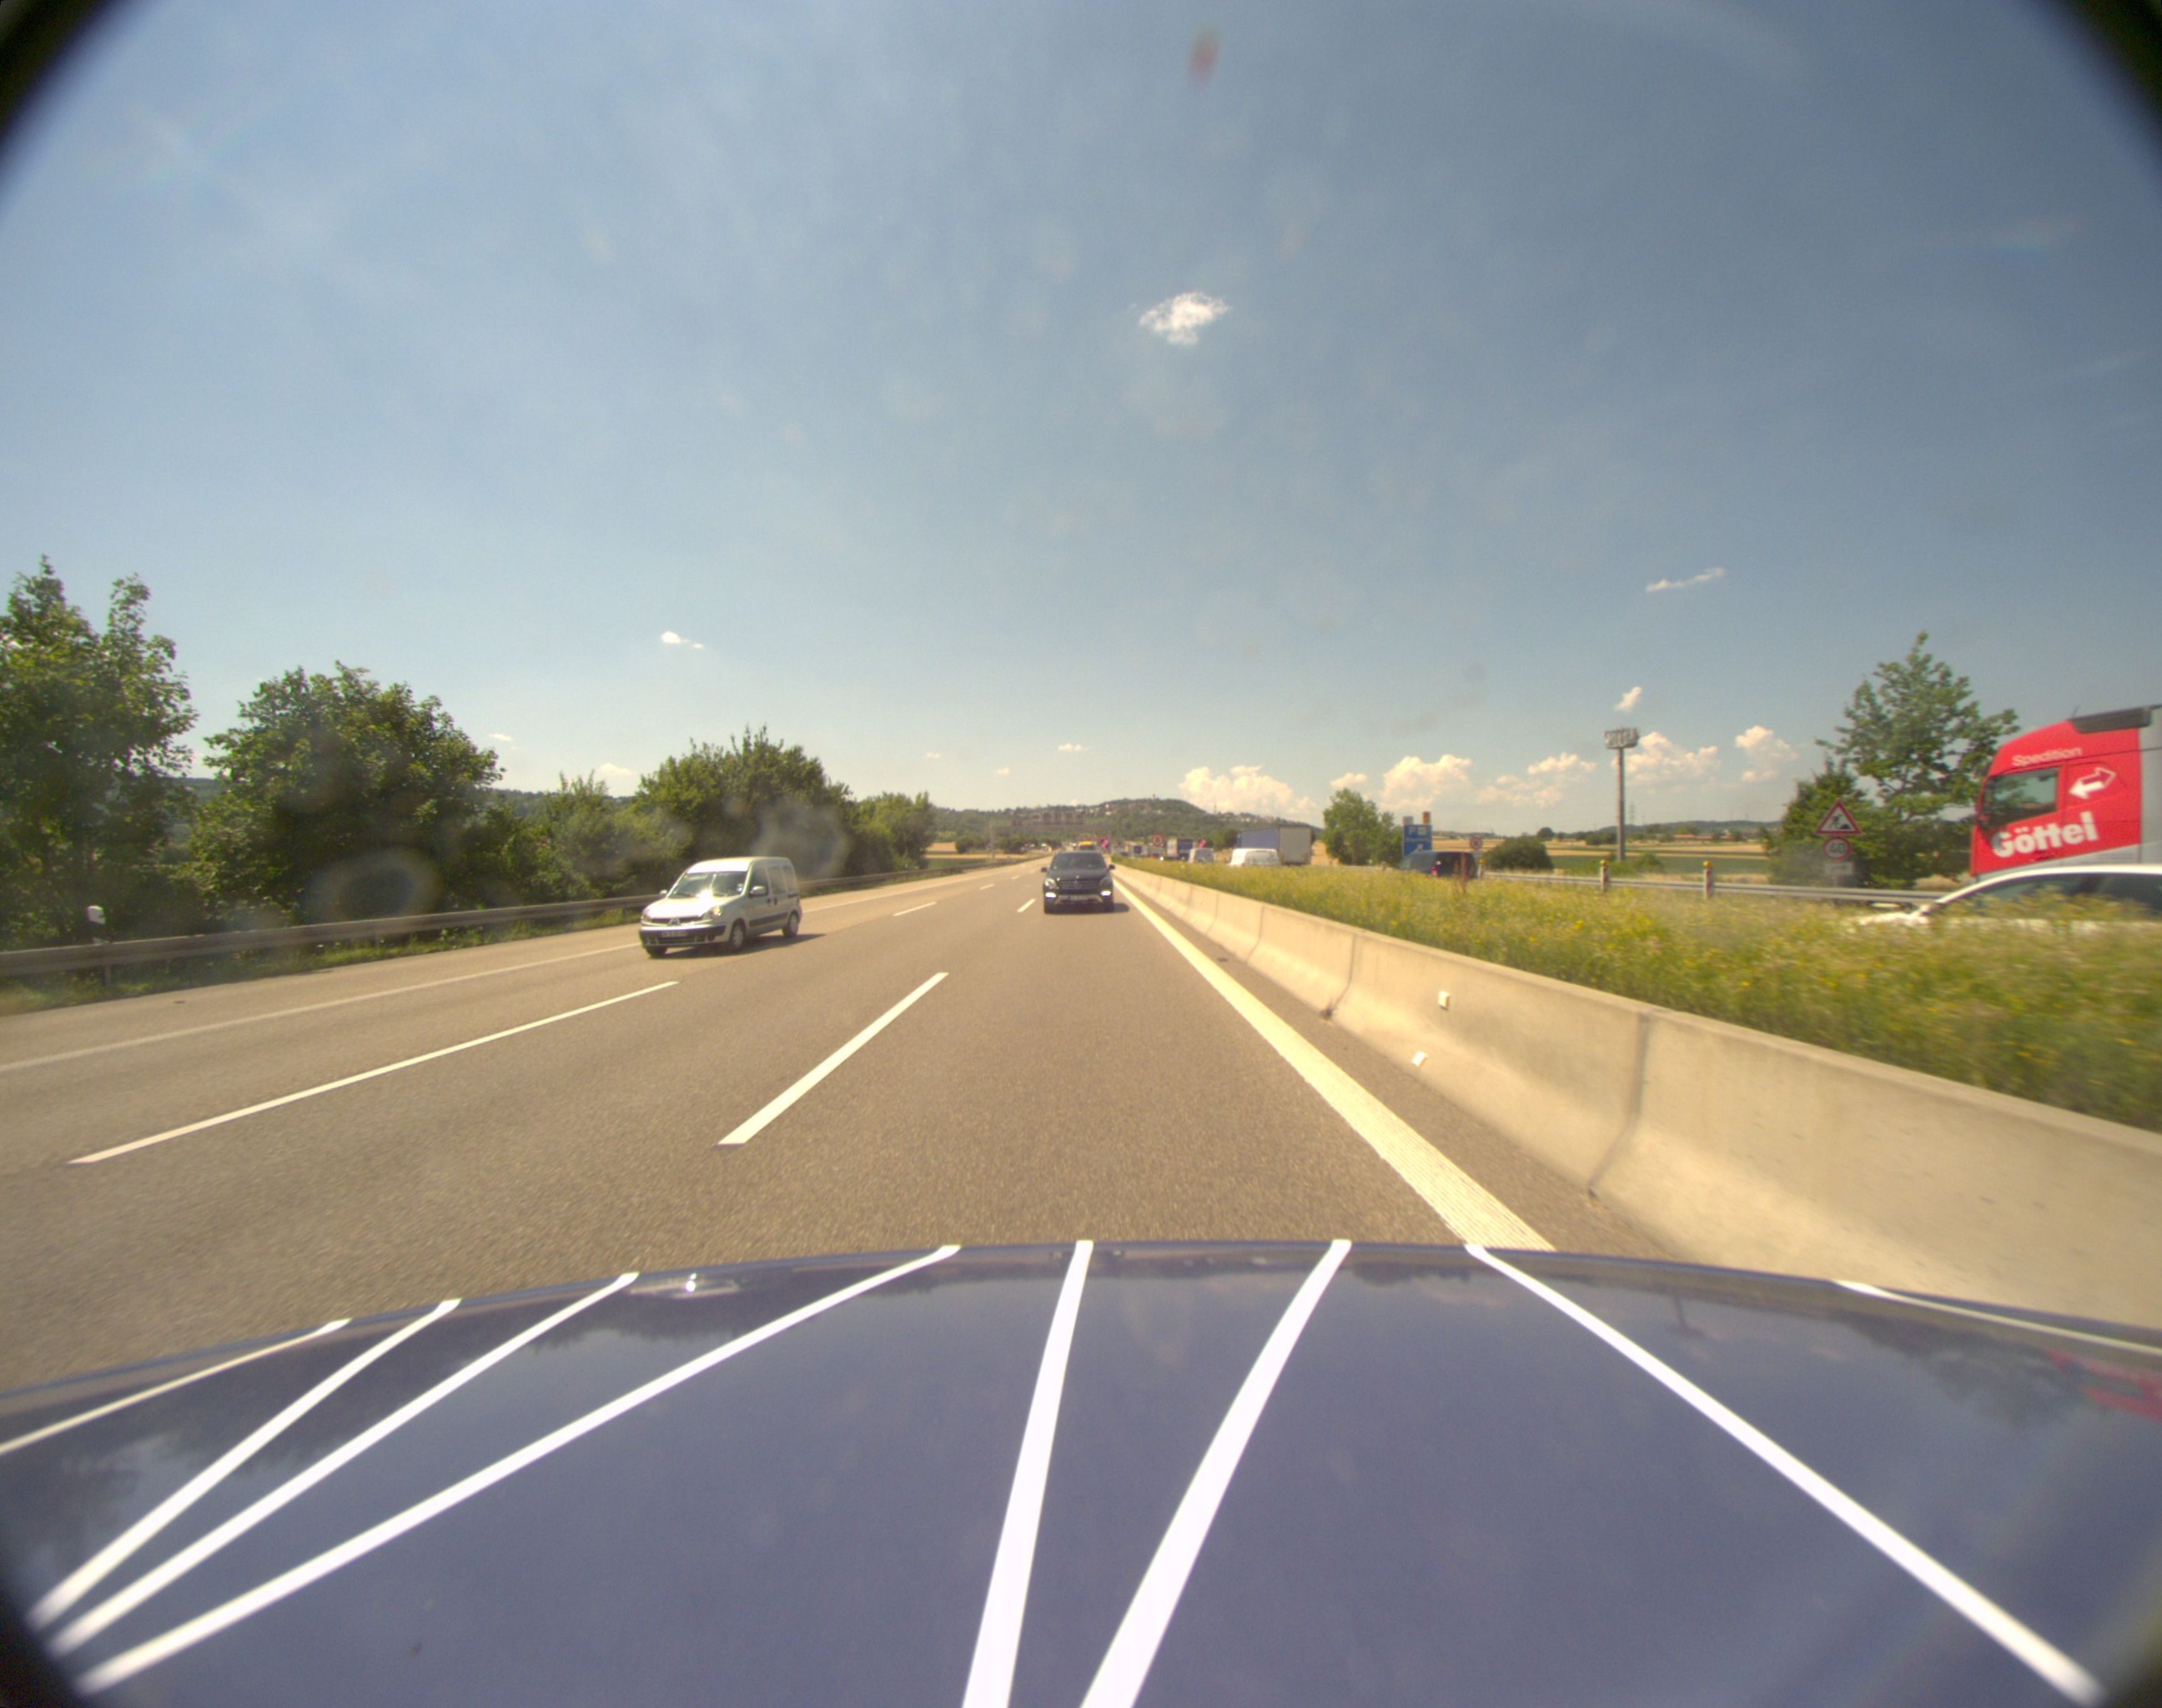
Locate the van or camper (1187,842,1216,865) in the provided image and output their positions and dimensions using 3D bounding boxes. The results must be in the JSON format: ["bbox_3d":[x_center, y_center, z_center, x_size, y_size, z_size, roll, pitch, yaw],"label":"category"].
[{"bbox_3d":[12.395,-0.041,78.372,2.099,2.261,5.493,-1,0,0],"label":"van or camper"}]

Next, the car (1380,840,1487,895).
[{"bbox_3d":[12.064,0.423,26.331,1.698,1.717,4.261,-1,0,0],"label":"car"}]

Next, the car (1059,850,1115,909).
[{"bbox_3d":[0.216,0.760,24.375,1.630,1.711,3.864,-1,0,1],"label":"car"}]

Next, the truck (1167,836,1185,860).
[{"bbox_3d":[16.956,-1.096,136.153,2.599,4.214,4.853,2,1,0],"label":"truck"}]

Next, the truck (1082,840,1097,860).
[{"bbox_3d":[1.424,-0.778,128.532,2.272,3.139,8.185,-2,1,1],"label":"truck"}]

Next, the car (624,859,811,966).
[{"bbox_3d":[-6.891,1.015,14.916,1.630,1.727,3.972,-2,0,1],"label":"car"}]

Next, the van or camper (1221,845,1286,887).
[{"bbox_3d":[8.486,0.535,37.841,1.999,1.922,5.201,-1,0,0],"label":"van or camper"}]

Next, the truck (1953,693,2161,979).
[{"bbox_3d":[15.890,-0.236,10.573,2.863,3.833,4.000,0,0,0],"label":"truck"}]

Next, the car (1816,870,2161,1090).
[{"bbox_3d":[8.147,0.877,5.639,1.698,1.408,3.815,-1,0,0],"label":"car"}]

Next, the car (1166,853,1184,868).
[{"bbox_3d":[9.712,0.663,78.638,1.388,1.460,3.195,-1,0,0],"label":"car"}]

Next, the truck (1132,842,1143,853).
[{"bbox_3d":[18.003,-2.089,243.362,2.983,3.587,9.993,-1,0,0],"label":"truck"}]

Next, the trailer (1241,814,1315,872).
[{"bbox_3d":[16.316,-0.858,64.066,2.890,4.325,13.642,0,0,1],"label":"trailer"}]

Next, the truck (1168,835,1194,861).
[{"bbox_3d":[16.891,-1.016,129.022,2.599,4.214,14.121,2,1,0],"label":"truck"}]

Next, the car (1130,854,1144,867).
[{"bbox_3d":[9.352,1.068,126.505,1.998,1.934,4.794,-1,1,0],"label":"car"}]

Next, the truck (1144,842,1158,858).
[{"bbox_3d":[16.916,-0.934,184.313,2.706,3.599,8.787,1,0,2],"label":"truck"}]

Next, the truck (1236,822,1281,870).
[{"bbox_3d":[16.386,-0.733,70.481,2.872,4.325,5.586,0,0,1],"label":"truck"}]
